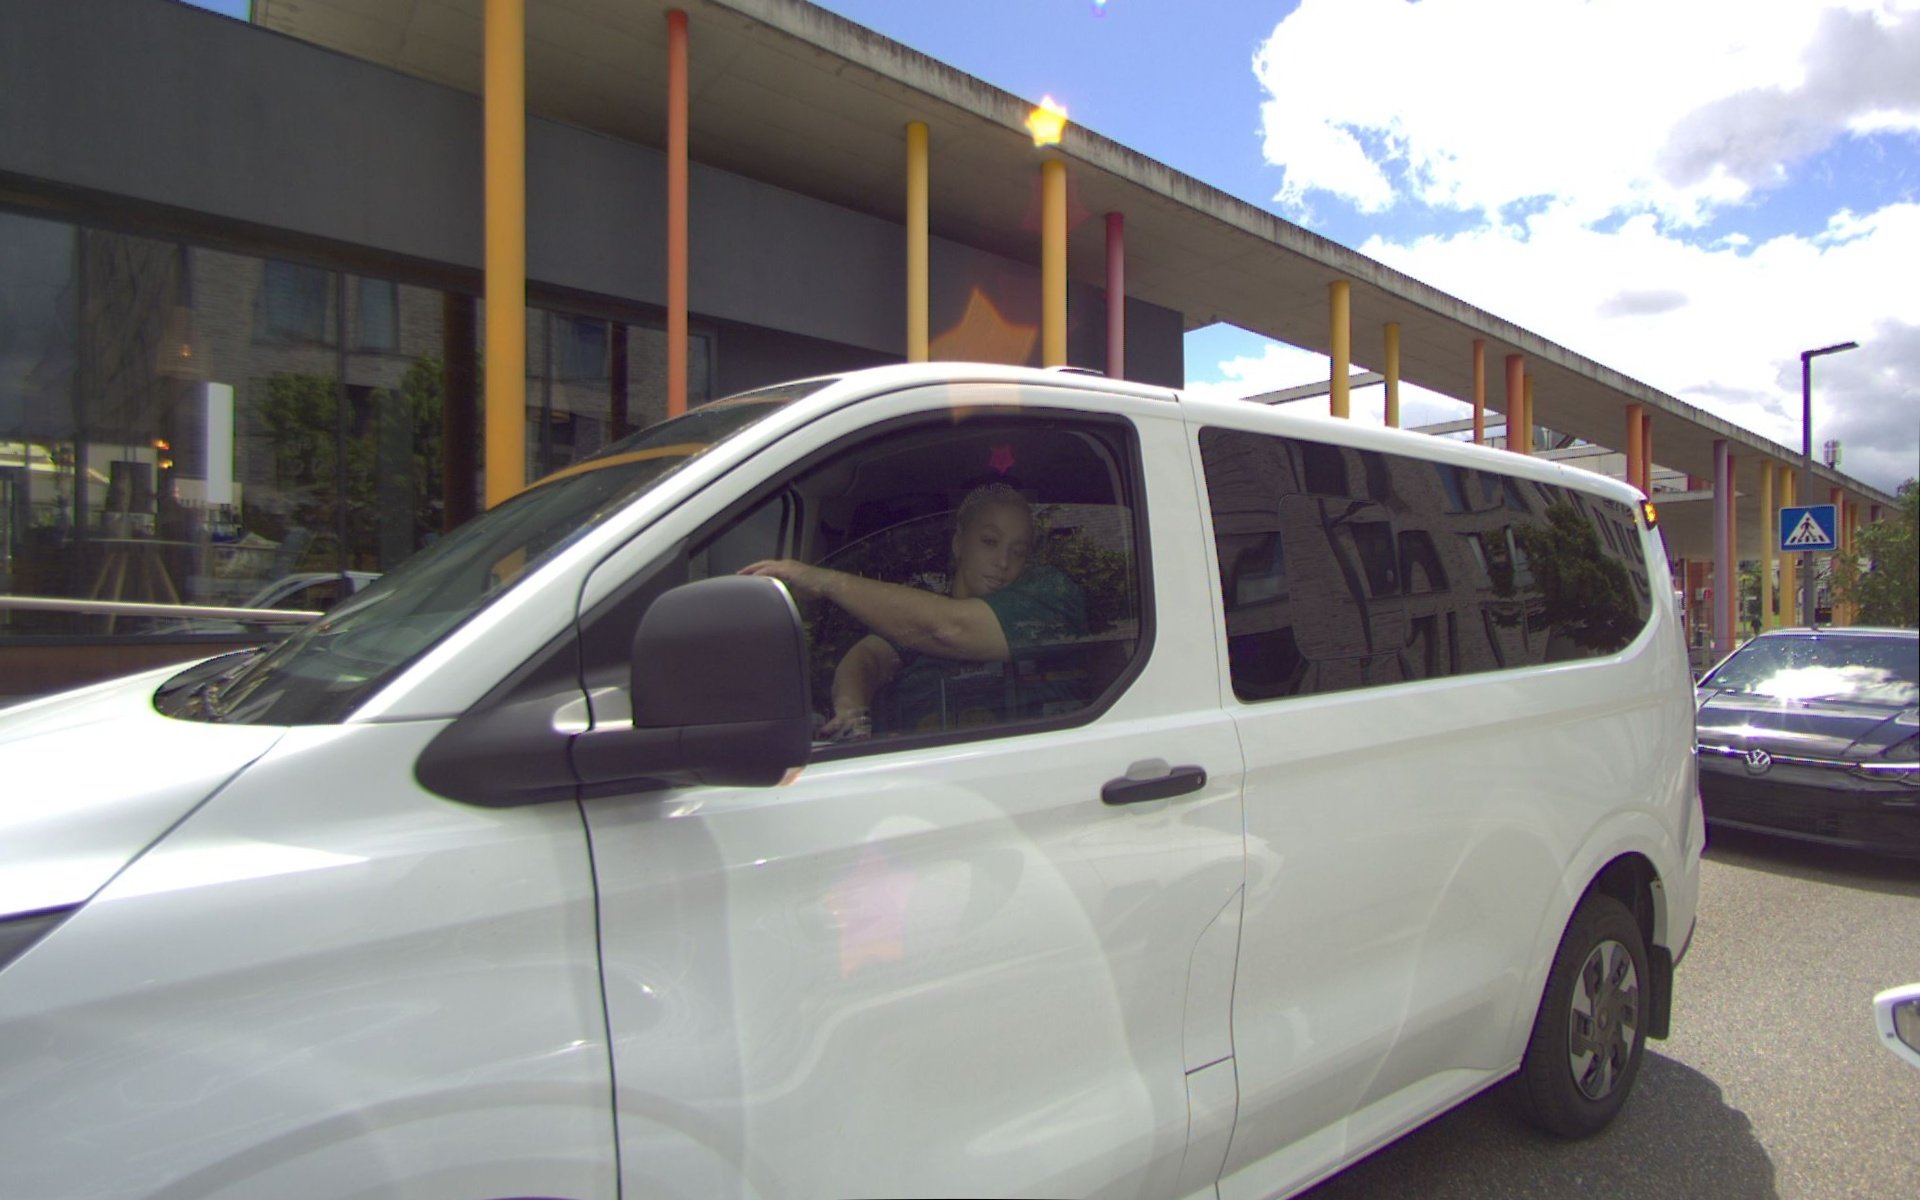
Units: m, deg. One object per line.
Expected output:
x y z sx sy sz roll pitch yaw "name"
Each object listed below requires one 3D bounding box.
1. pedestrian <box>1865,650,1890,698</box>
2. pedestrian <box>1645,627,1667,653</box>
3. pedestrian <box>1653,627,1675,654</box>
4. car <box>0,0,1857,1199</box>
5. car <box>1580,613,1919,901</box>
36.792 2.968 40.273 0.703 1.854 0.582 2 -1 -37 "pedestrian"
37.986 2.185 54.815 0.696 1.398 0.816 -1 1 -38 "pedestrian"
38.818 2.218 55.392 0.696 1.398 0.816 -1 1 -38 "pedestrian"
0.282 0.443 2.802 5.337 2.040 1.982 1 1 -33 "car"
6.304 0.867 7.169 4.194 1.483 1.760 1 0 -36 "car"
